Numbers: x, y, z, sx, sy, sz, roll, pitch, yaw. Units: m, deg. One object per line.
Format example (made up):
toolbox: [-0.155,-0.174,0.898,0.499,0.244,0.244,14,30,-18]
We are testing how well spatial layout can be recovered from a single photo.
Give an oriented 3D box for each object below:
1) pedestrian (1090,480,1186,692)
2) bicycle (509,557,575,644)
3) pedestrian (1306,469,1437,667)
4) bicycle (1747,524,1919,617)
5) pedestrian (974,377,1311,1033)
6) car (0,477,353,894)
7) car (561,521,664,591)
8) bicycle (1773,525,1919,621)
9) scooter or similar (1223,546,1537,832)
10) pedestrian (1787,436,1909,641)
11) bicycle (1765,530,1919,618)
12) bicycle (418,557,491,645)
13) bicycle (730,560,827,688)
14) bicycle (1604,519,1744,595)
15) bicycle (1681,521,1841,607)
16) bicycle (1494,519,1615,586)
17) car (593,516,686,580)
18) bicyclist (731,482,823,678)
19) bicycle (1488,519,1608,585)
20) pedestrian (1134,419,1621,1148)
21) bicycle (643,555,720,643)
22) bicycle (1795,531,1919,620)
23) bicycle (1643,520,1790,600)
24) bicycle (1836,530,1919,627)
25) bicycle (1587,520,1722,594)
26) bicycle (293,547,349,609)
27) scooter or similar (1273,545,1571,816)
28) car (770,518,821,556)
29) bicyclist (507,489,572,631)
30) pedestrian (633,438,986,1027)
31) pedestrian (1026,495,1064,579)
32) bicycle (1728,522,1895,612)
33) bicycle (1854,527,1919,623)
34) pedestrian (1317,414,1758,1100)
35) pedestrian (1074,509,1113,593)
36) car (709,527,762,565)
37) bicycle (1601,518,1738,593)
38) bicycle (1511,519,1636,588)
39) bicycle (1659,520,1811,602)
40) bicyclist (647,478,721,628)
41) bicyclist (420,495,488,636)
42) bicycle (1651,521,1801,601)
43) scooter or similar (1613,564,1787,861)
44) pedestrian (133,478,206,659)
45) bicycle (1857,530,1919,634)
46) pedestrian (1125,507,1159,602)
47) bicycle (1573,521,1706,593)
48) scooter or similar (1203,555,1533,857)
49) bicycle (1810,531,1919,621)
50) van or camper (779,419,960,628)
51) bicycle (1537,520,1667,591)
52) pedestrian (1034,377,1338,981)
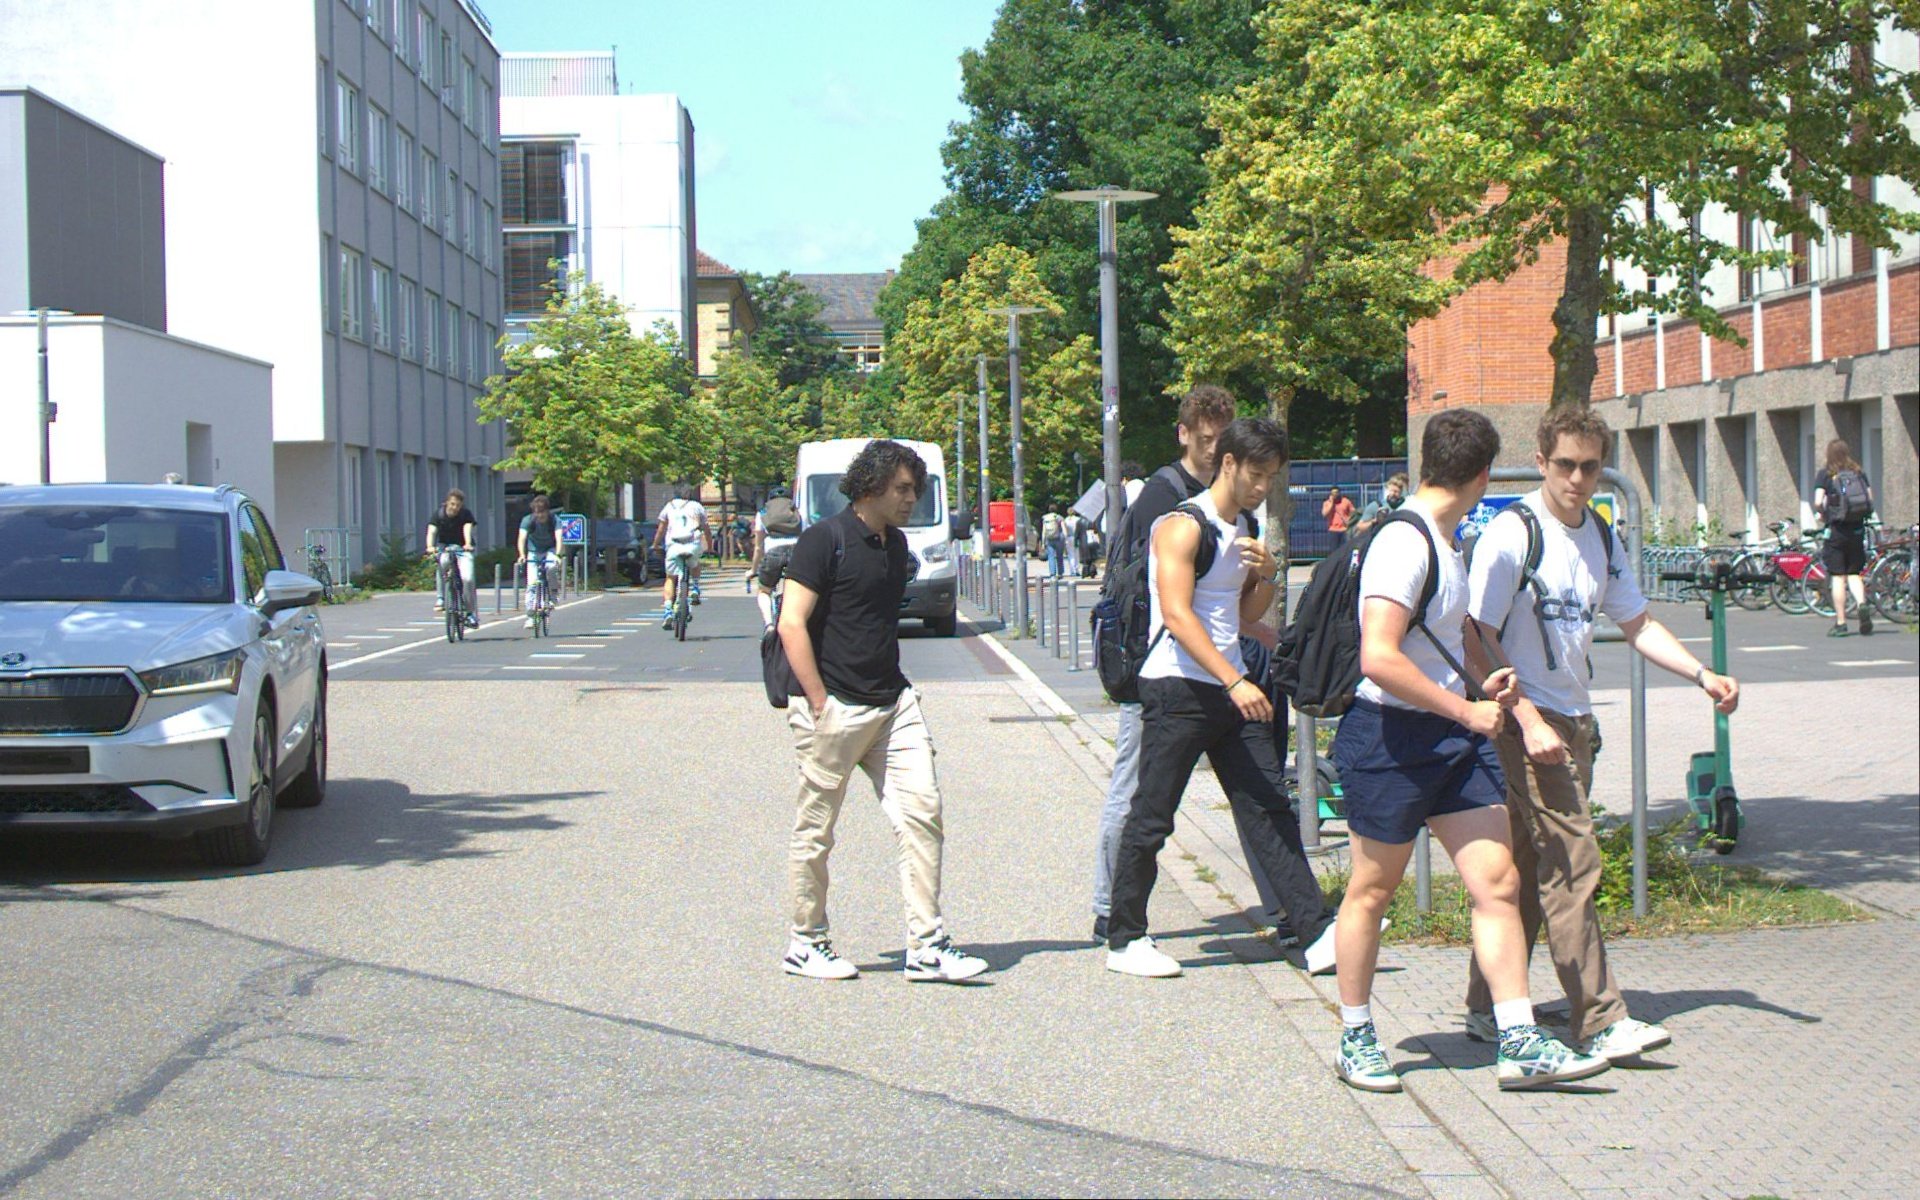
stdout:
pedestrian: [1.439,-0.122,27.871,0.702,1.689,0.962,0,1,-1]
bicycle: [-5.065,-0.009,41.759,0.677,0.961,2.003,0,3,-4]
pedestrian: [3.698,-0.297,30.955,0.853,1.727,1.161,-2,1,-8]
bicycle: [10.090,-0.347,39.757,1.809,0.981,0.560,-3,1,-2]
pedestrian: [0.567,0.312,10.838,0.616,1.973,0.829,-2,0,-33]
car: [-3.963,0.308,15.729,1.917,1.613,4.521,2,0,-5]
car: [-8.064,-1.037,80.009,1.795,1.525,4.000,-2,1,2]
bicycle: [10.063,-0.312,38.339,1.809,0.981,0.560,-3,1,-2]
scooter or similar: [1.945,0.400,15.920,1.262,1.260,0.650,-1,1,31]
pedestrian: [8.249,-0.577,31.974,0.790,1.853,1.116,-2,1,-1]
bicycle: [10.144,-0.304,39.099,1.809,0.909,0.560,-3,1,-2]
bicycle: [-5.855,-0.001,39.885,0.677,0.961,2.003,0,1,-4]
bicycle: [-1.598,0.190,29.973,0.706,0.989,1.911,2,2,-6]
bicycle: [10.076,-0.611,48.522,1.809,0.981,0.560,-3,1,-2]
bicycle: [9.972,-0.454,42.818,1.809,0.981,0.560,-3,1,-2]
bicycle: [9.541,-0.760,55.191,1.809,0.981,0.560,-3,1,-2]
car: [-8.120,-1.333,87.420,1.795,1.525,4.000,-2,1,2]
bicyclist: [-1.597,-0.174,29.927,0.717,1.656,1.095,2,0,-5]
bicycle: [9.535,-0.785,55.786,1.809,0.981,0.560,-3,1,-2]
pedestrian: [1.062,0.421,8.743,0.983,1.733,0.699,0,3,38]
bicycle: [-3.331,-0.019,41.214,0.808,0.999,2.124,2,0,-2]
bicycle: [10.148,-0.281,37.694,1.809,0.909,0.560,-3,1,-2]
bicycle: [10.157,-0.541,46.202,1.809,0.981,0.560,-3,1,-2]
bicycle: [10.208,-0.249,36.234,1.783,0.975,0.560,-2,1,-3]
bicycle: [10.093,-0.633,50.000,1.809,0.981,0.560,-3,1,-2]
bicycle: [-10.791,-0.380,58.124,0.523,0.981,1.632,-3,1,3]
scooter or similar: [2.247,0.382,16.738,1.262,1.260,0.638,-1,1,31]
car: [-6.966,-2.693,145.766,1.795,1.525,4.000,-2,1,2]
bicyclist: [-5.093,-0.483,41.676,0.667,1.676,0.993,-2,1,-4]
pedestrian: [-0.459,0.388,10.831,0.802,1.766,0.854,-1,2,20]
pedestrian: [1.919,-1.423,77.677,0.790,1.853,1.243,-2,1,0]
bicycle: [10.112,-0.393,40.861,1.809,0.981,0.560,-3,1,-2]
bicycle: [10.235,-0.284,35.589,1.790,0.965,0.560,-2,1,-2]
pedestrian: [1.553,0.389,9.242,0.908,1.733,0.677,-1,3,38]
pedestrian: [2.996,-1.113,77.378,0.790,1.853,1.026,-2,1,0]
car: [-9.507,-2.320,145.996,1.795,1.525,4.000,-2,1,2]
bicycle: [10.192,-0.638,49.391,1.809,0.981,0.560,-3,1,-2]
bicycle: [9.534,-0.719,53.449,1.809,0.981,0.560,-3,1,-2]
bicycle: [10.110,-0.510,44.879,1.809,0.981,0.560,-3,1,-2]
bicyclist: [-3.297,-0.563,41.125,0.771,1.750,0.848,2,1,-1]
bicyclist: [-5.881,-0.406,39.969,0.643,1.596,0.909,-2,1,-3]
bicycle: [10.159,-0.521,45.615,1.809,0.981,0.560,-3,1,-2]
scooter or similar: [3.113,0.449,14.389,0.649,1.156,1.264,-1,1,14]
pedestrian: [-7.924,-0.311,34.437,0.666,1.779,0.985,-1,0,-14]
bicycle: [9.960,-0.204,34.901,1.535,1.029,0.560,-2,1,-2]
pedestrian: [3.601,-0.911,68.083,0.576,1.853,0.570,-2,1,-4]
bicycle: [9.994,-0.636,50.587,1.809,0.981,0.560,-3,1,-2]
scooter or similar: [1.795,0.453,15.144,1.262,1.260,0.650,-1,1,31]
bicycle: [10.094,-0.273,36.837,1.809,0.909,0.560,-3,1,-2]
van or camper: [-1.081,-0.935,43.349,1.993,2.437,4.569,-2,1,1]
bicycle: [9.686,-0.681,51.918,1.809,0.981,0.560,-3,1,-2]
pedestrian: [0.778,0.252,11.679,0.827,1.973,0.691,-1,2,20]
